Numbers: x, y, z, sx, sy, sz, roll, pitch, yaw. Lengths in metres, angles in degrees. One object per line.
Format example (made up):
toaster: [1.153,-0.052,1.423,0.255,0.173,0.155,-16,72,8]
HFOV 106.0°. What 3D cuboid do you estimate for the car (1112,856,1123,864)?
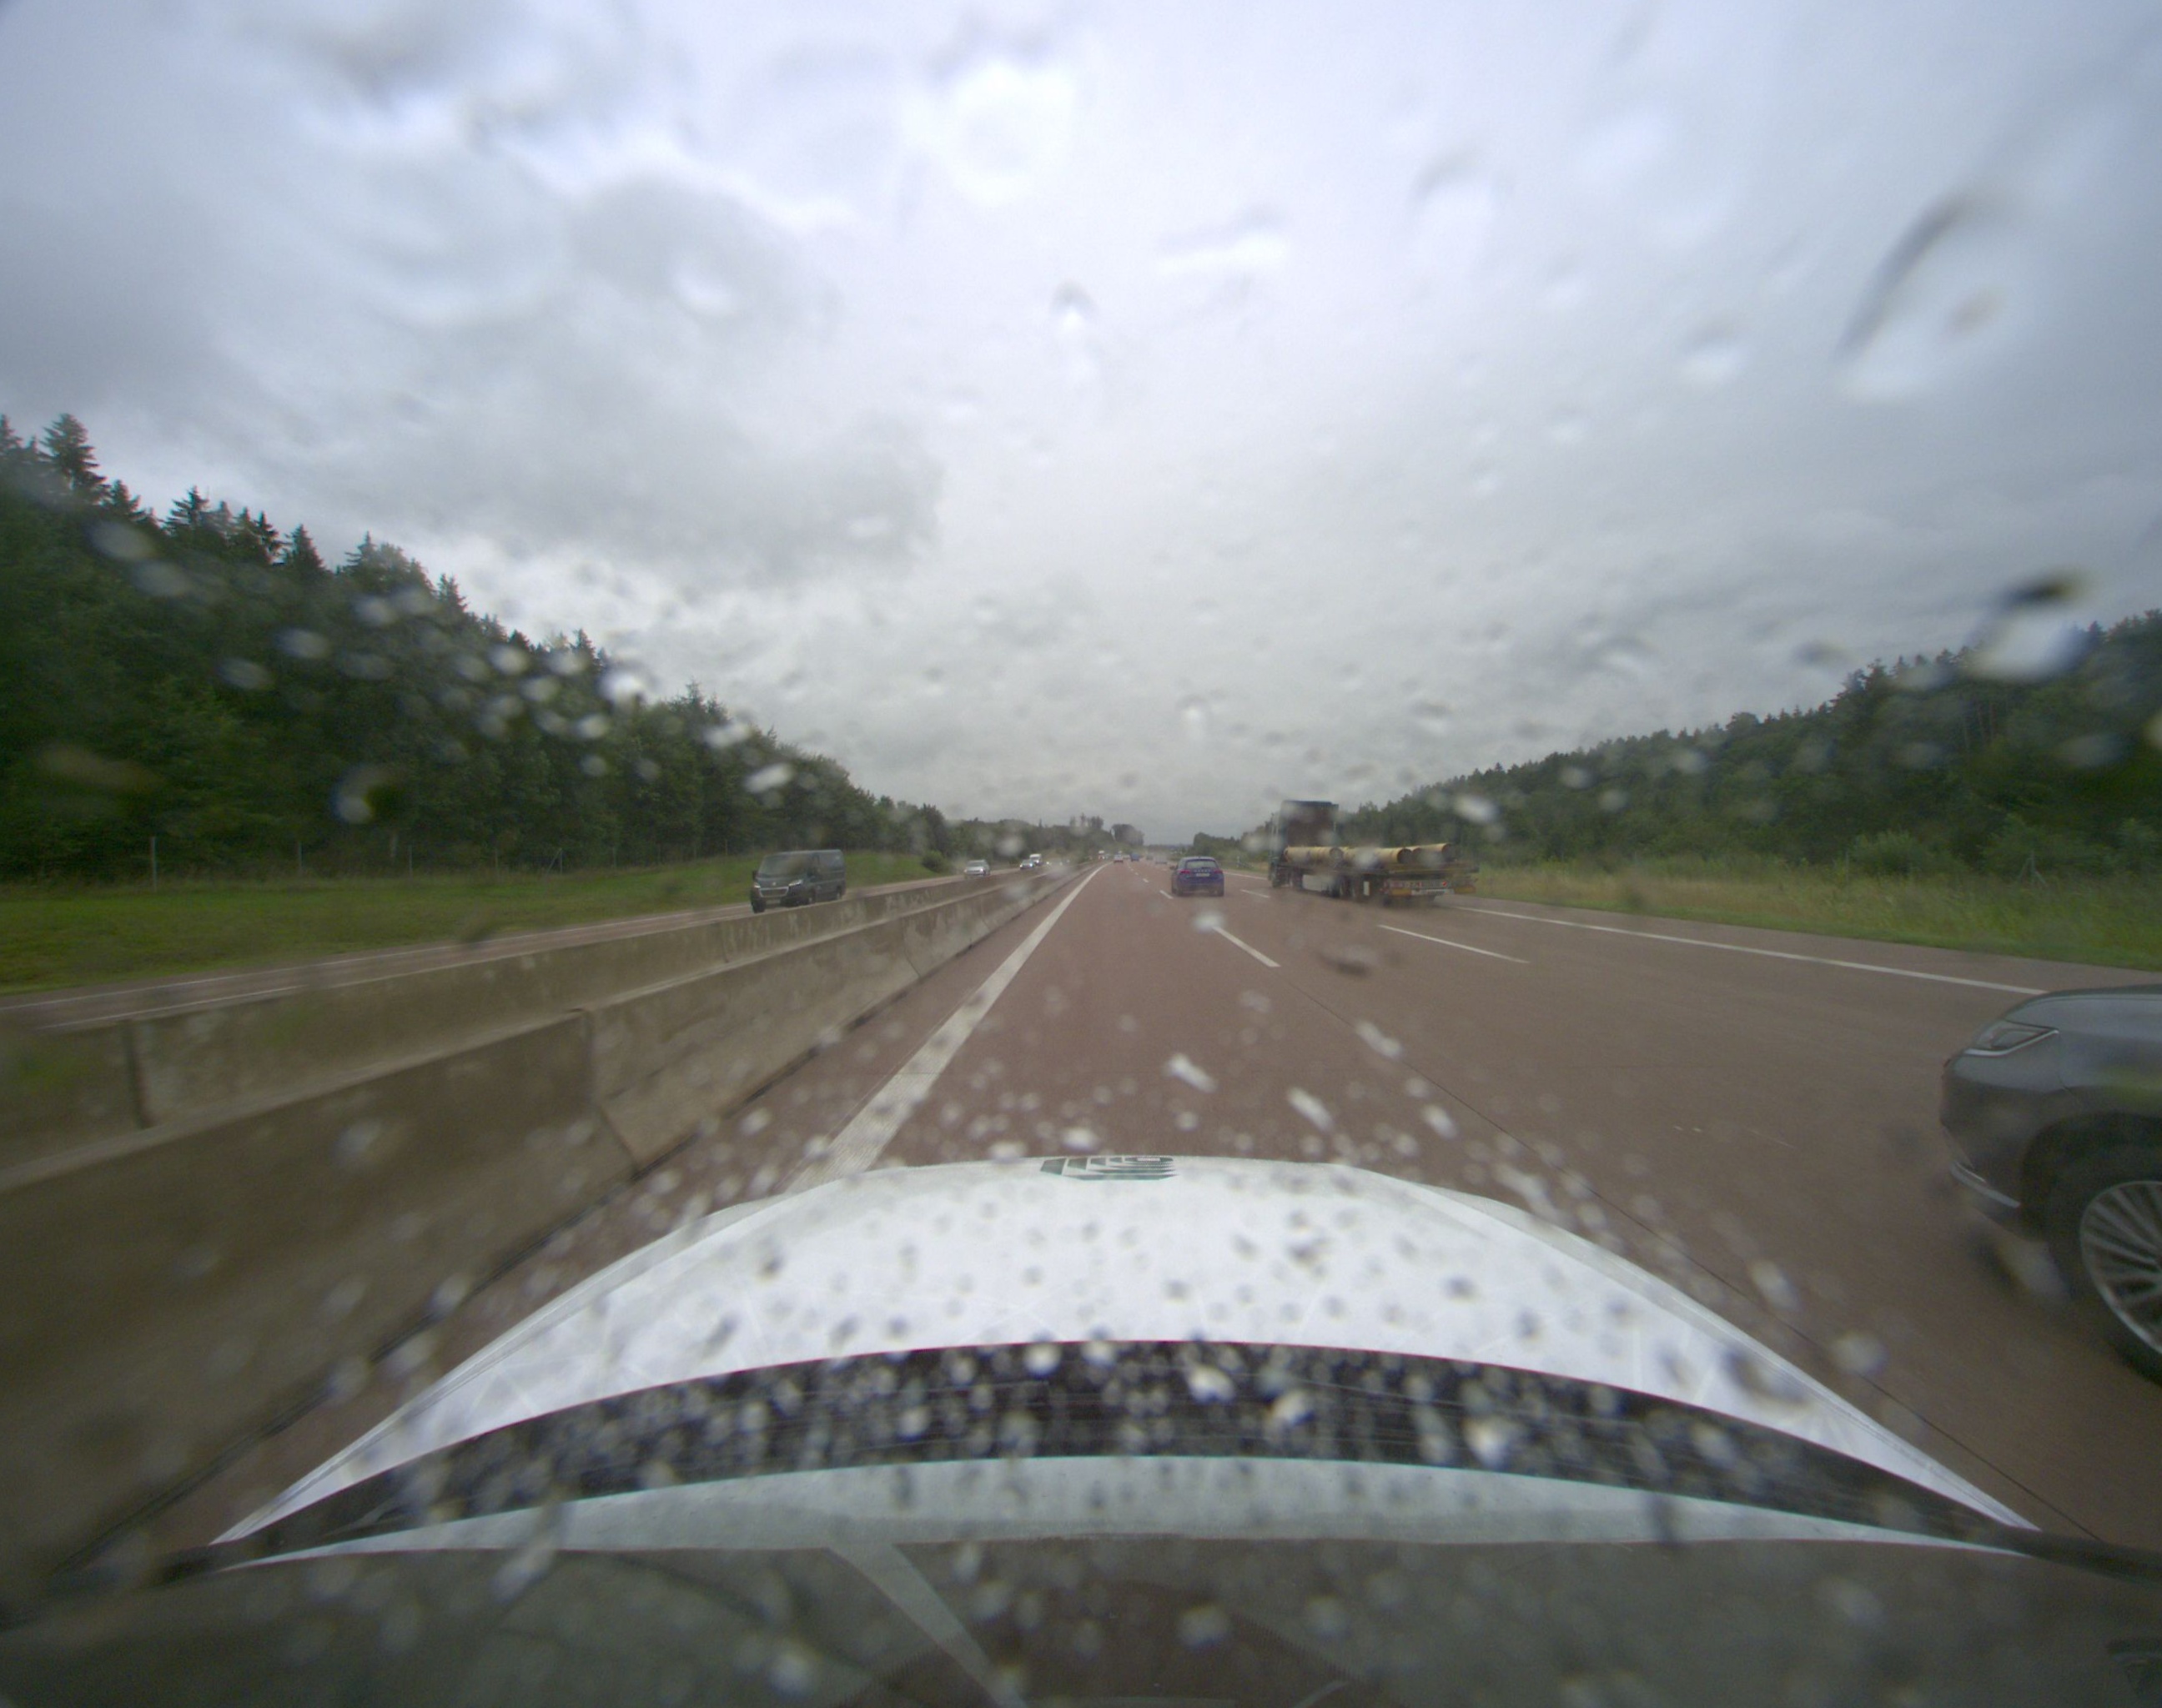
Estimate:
car: [7.078,1.118,157.802,1.868,1.444,4.875,0,-1,0]

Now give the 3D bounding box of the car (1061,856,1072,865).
car: [-2.940,1.255,167.276,1.985,1.827,4.690,-2,0,3]

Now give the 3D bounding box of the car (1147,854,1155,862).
car: [18.923,1.044,219.644,1.986,2.014,4.001,0,-1,2]

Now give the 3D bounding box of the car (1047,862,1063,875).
car: [-3.444,2.016,109.617,1.850,1.707,6.165,0,-1,1]

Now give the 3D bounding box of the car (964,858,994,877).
car: [-9.123,1.215,73.163,1.782,1.557,4.867,-3,0,2]

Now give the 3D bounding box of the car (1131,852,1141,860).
car: [13.444,0.532,200.091,2.313,1.750,4.879,0,-1,2]

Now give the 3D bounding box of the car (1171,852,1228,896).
car: [4.487,0.757,31.338,1.764,1.564,4.148,0,-1,2]

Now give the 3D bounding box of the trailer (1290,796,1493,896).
trailer: [9.783,-0.090,27.514,2.870,2.676,11.402,0,-1,2]

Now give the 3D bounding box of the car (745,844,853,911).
car: [-10.396,0.874,30.552,2.095,2.279,5.396,0,-1,1]

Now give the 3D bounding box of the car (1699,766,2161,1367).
car: [3.832,0.533,0.880,1.986,1.593,5.820,0,-1,1]

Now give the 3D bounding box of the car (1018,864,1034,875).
car: [-7.725,2.133,115.145,1.643,1.389,4.812,-4,0,1]

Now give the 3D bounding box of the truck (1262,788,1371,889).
truck: [10.048,-0.548,35.562,2.886,3.965,6.991,0,-1,2]

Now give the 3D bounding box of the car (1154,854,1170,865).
car: [13.350,0.929,133.751,2.313,1.750,4.879,0,-1,2]
